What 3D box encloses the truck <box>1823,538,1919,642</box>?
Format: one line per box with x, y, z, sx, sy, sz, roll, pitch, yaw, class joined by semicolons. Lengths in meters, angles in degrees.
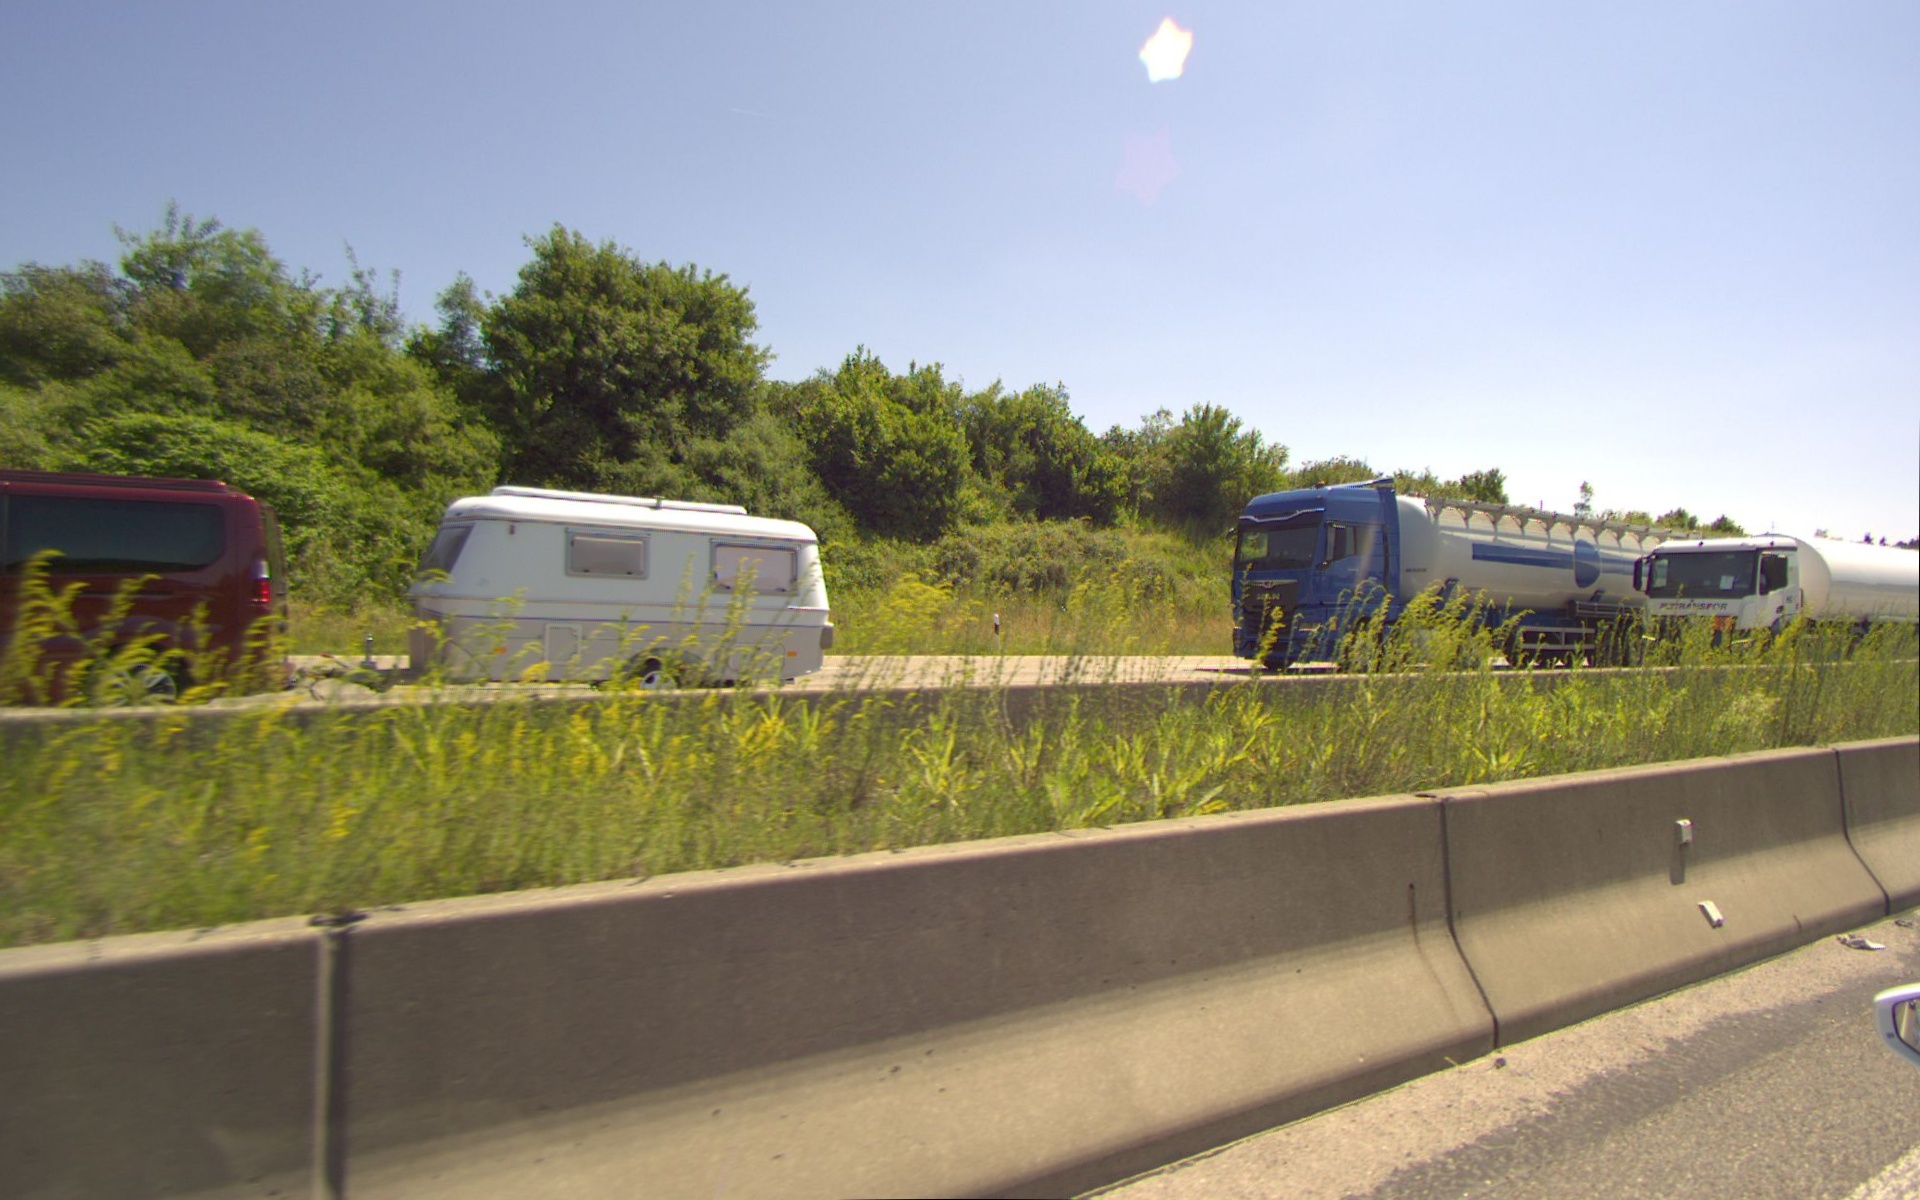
39.657;-0.274;41.563;8.051;3.961;3.492;2;0;-30;truck

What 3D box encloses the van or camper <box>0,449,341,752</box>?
-8.219;-0.036;7.624;5.887;2.181;1.983;2;0;-31;van or camper

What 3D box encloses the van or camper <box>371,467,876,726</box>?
-3.430;0.037;10.527;4.664;2.181;1.983;2;0;-31;van or camper

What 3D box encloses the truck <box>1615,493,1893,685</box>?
18.807;-0.123;23.669;7.316;3.941;2.605;2;0;-31;truck

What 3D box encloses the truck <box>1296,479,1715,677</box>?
14.347;-0.321;25.792;12.432;4.148;3.561;1;0;-31;truck

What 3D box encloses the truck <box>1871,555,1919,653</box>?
46.893;0.331;45.865;14.830;4.148;3.561;1;0;-31;truck

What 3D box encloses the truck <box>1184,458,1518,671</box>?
8.759;-0.647;22.464;6.567;4.091;3.473;2;2;-31;truck

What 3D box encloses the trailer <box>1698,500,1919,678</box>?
23.807;-0.029;26.652;11.514;4.002;2.666;2;-2;-31;trailer
